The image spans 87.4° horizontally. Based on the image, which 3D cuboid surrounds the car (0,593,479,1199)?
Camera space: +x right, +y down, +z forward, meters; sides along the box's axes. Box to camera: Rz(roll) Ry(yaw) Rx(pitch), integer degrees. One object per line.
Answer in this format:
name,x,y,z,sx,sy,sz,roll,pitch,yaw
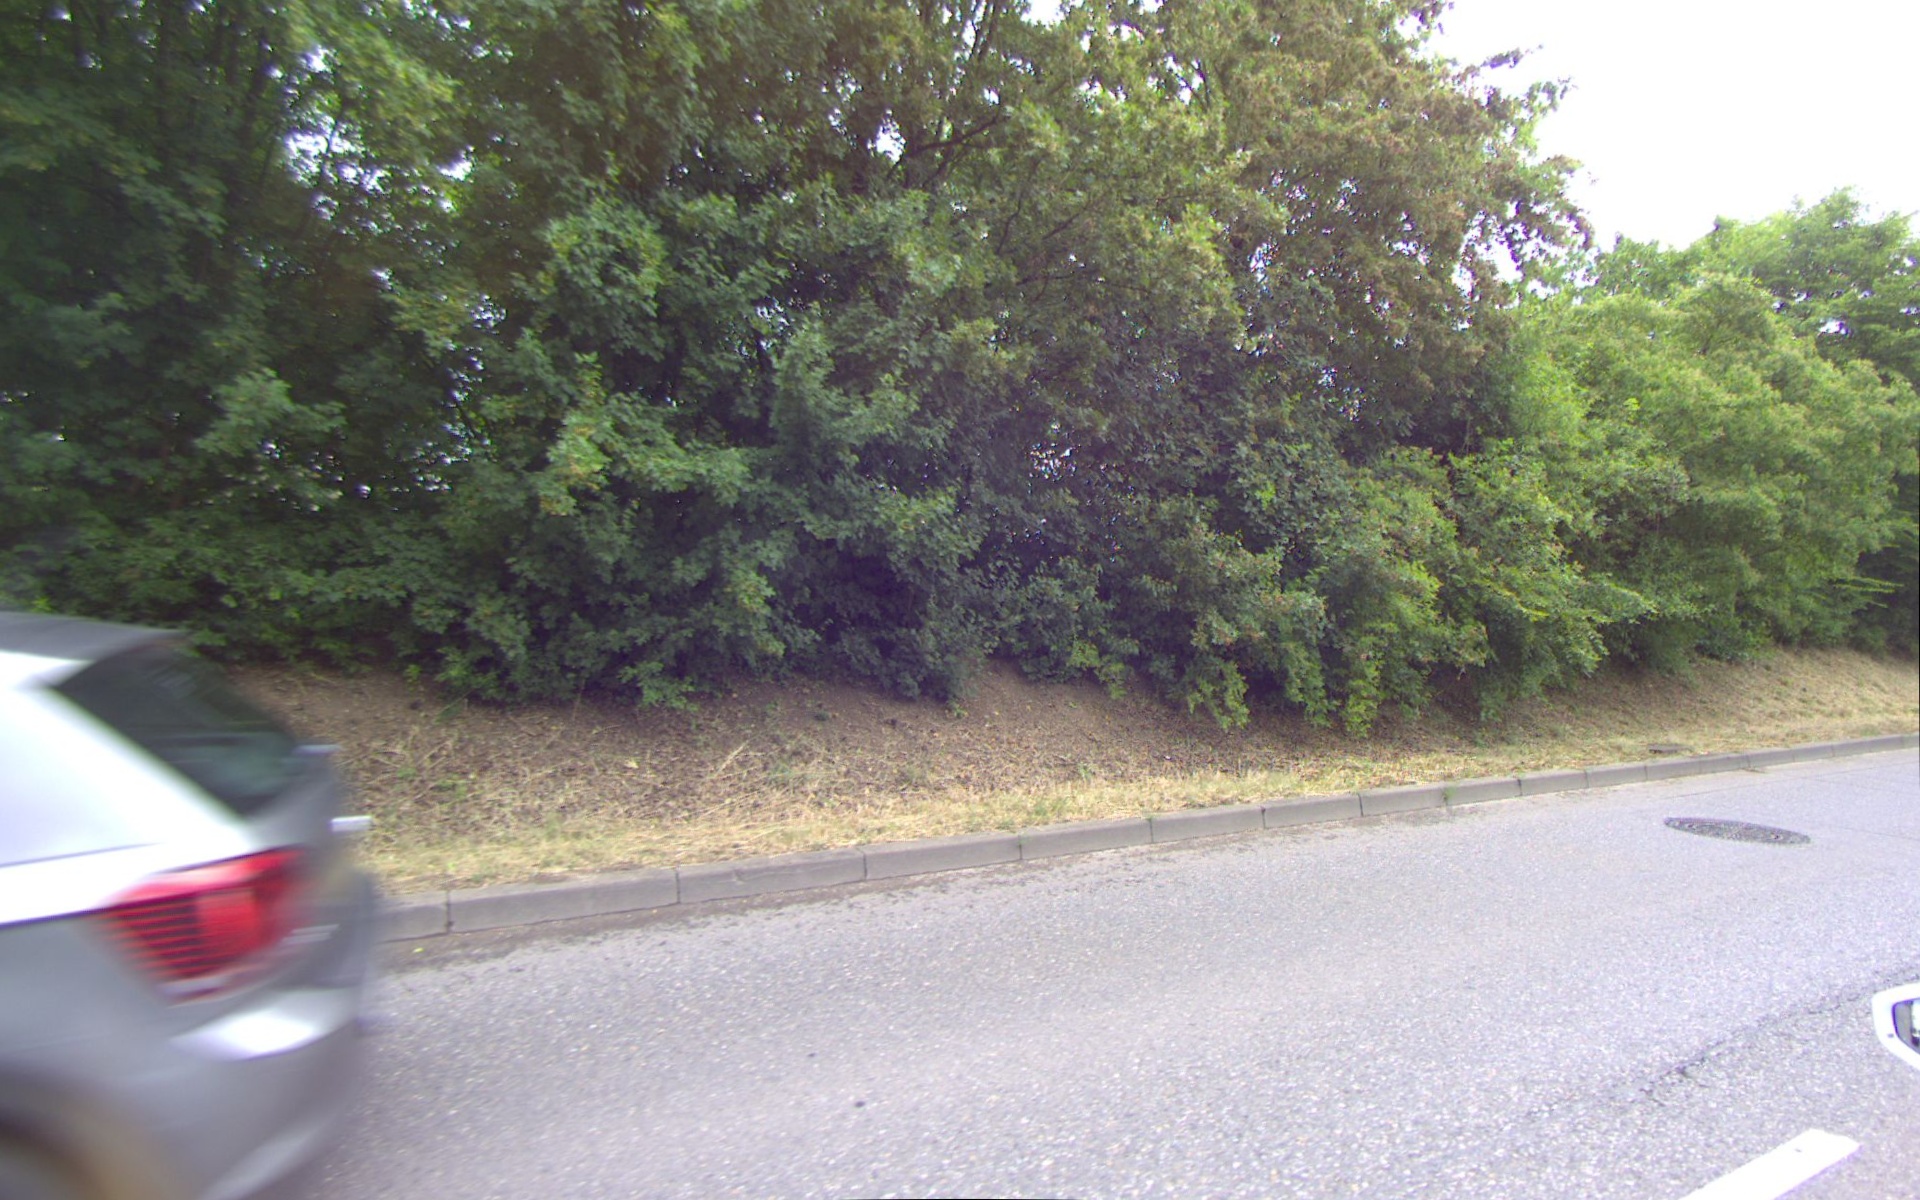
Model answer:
car,-2.861,0.679,1.738,3.554,1.424,1.626,2,0,-30
